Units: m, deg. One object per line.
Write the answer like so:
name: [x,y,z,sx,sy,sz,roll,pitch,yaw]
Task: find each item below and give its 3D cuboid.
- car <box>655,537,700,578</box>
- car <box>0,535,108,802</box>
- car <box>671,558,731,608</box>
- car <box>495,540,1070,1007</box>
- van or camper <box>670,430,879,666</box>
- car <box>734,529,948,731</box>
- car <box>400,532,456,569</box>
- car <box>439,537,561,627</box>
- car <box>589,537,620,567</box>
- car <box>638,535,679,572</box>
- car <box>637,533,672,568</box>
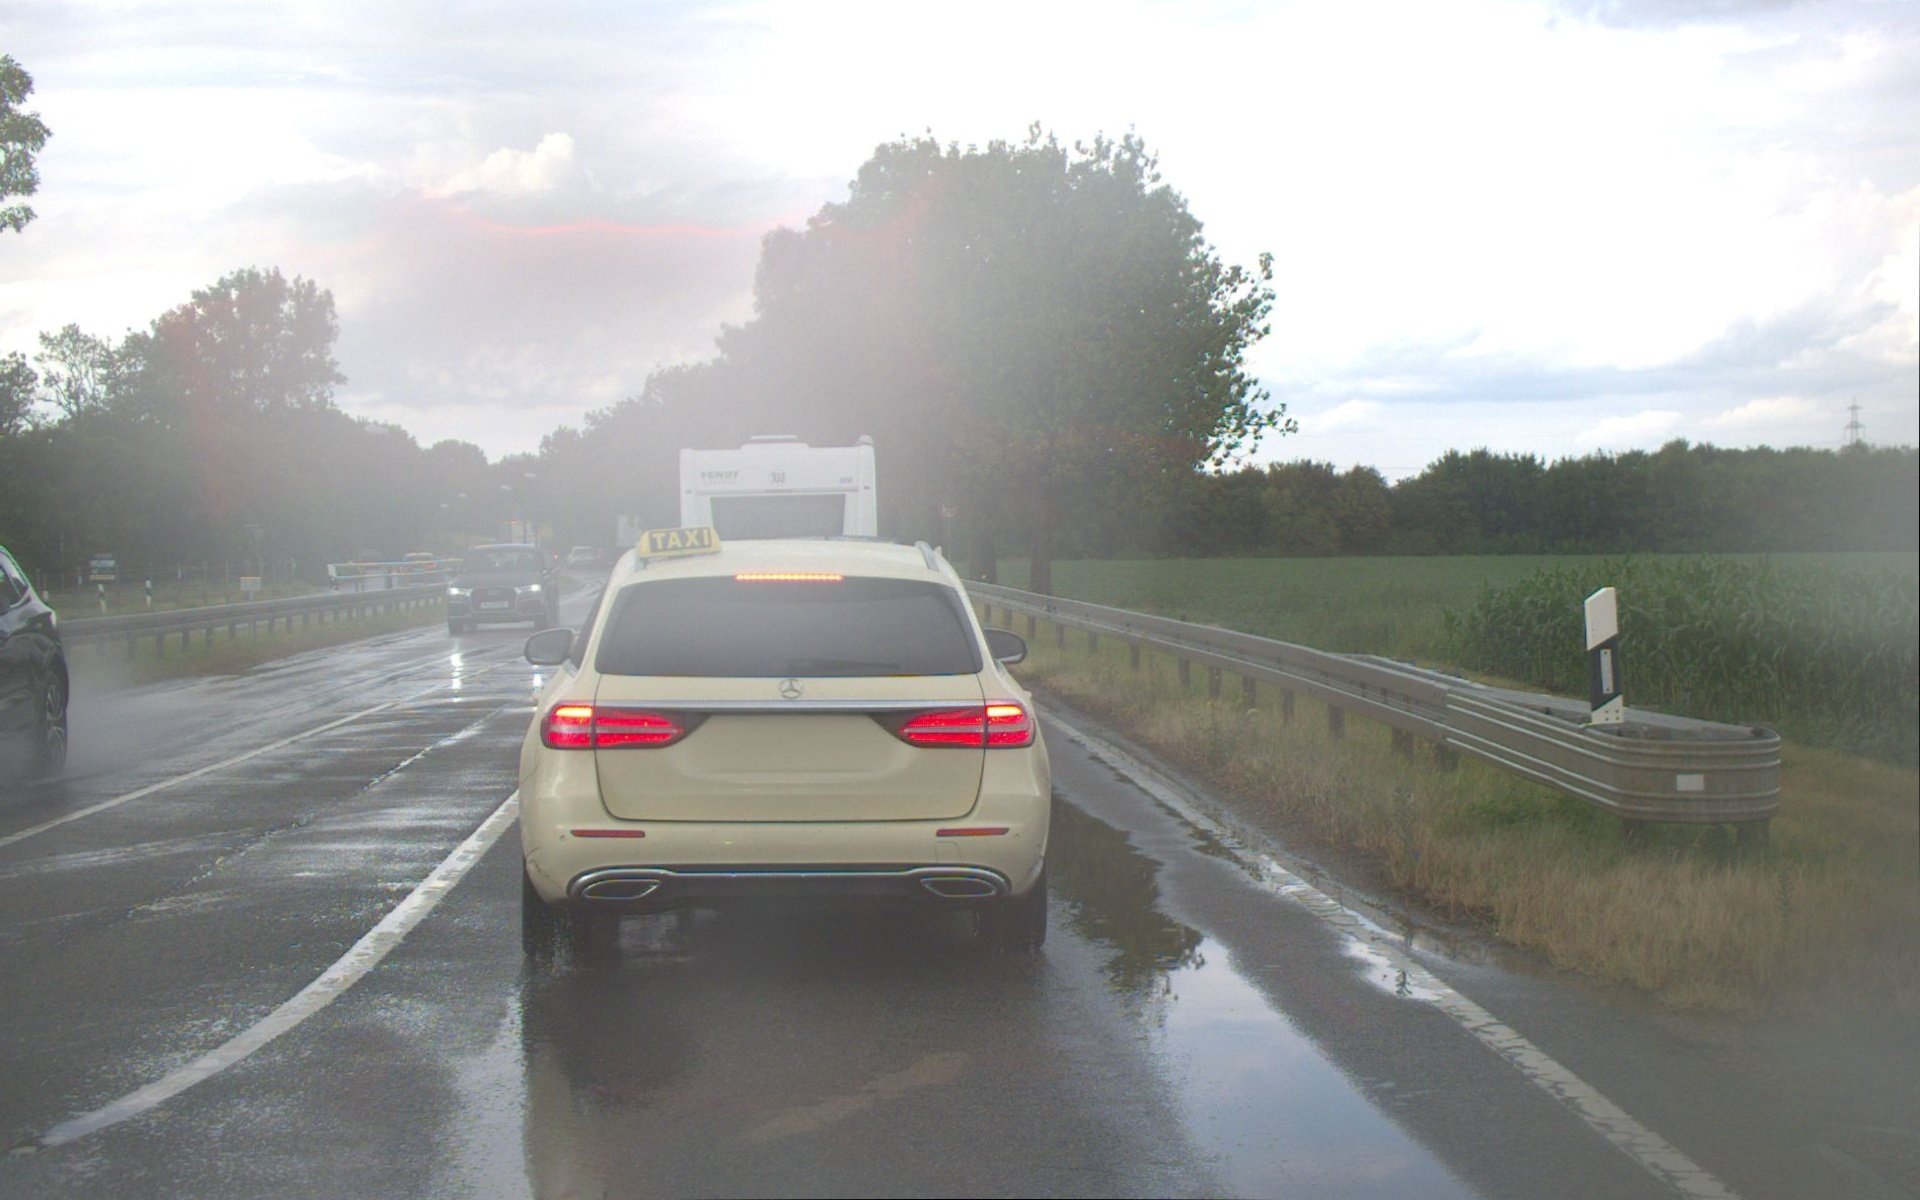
car: [-13.917,-2.105,169.219,1.993,2.007,4.001,-1,1,-7]
car: [-6.699,0.424,21.045,1.944,1.575,4.444,-2,1,-2]
car: [-10.612,-0.705,140.479,1.993,2.007,4.001,-1,1,-11]
car: [-0.621,0.519,13.029,1.825,1.480,4.145,0,1,-2]
van or camper: [-2.250,-0.669,42.163,2.350,2.671,5.769,-1,1,-3]
car: [-1.006,0.188,28.417,1.627,1.524,3.933,-1,1,-3]
car: [-24.167,-2.263,156.362,1.993,1.645,4.000,0,1,-1]
car: [-8.439,-0.357,63.300,1.768,1.518,4.142,-2,1,-2]
car: [-24.181,-3.273,233.689,1.993,2.007,4.001,-1,1,-8]
car: [-16.592,-2.569,189.132,1.993,2.044,4.000,-1,1,-2]
car: [-17.964,-2.905,202.295,1.993,2.007,4.001,-1,1,-5]
